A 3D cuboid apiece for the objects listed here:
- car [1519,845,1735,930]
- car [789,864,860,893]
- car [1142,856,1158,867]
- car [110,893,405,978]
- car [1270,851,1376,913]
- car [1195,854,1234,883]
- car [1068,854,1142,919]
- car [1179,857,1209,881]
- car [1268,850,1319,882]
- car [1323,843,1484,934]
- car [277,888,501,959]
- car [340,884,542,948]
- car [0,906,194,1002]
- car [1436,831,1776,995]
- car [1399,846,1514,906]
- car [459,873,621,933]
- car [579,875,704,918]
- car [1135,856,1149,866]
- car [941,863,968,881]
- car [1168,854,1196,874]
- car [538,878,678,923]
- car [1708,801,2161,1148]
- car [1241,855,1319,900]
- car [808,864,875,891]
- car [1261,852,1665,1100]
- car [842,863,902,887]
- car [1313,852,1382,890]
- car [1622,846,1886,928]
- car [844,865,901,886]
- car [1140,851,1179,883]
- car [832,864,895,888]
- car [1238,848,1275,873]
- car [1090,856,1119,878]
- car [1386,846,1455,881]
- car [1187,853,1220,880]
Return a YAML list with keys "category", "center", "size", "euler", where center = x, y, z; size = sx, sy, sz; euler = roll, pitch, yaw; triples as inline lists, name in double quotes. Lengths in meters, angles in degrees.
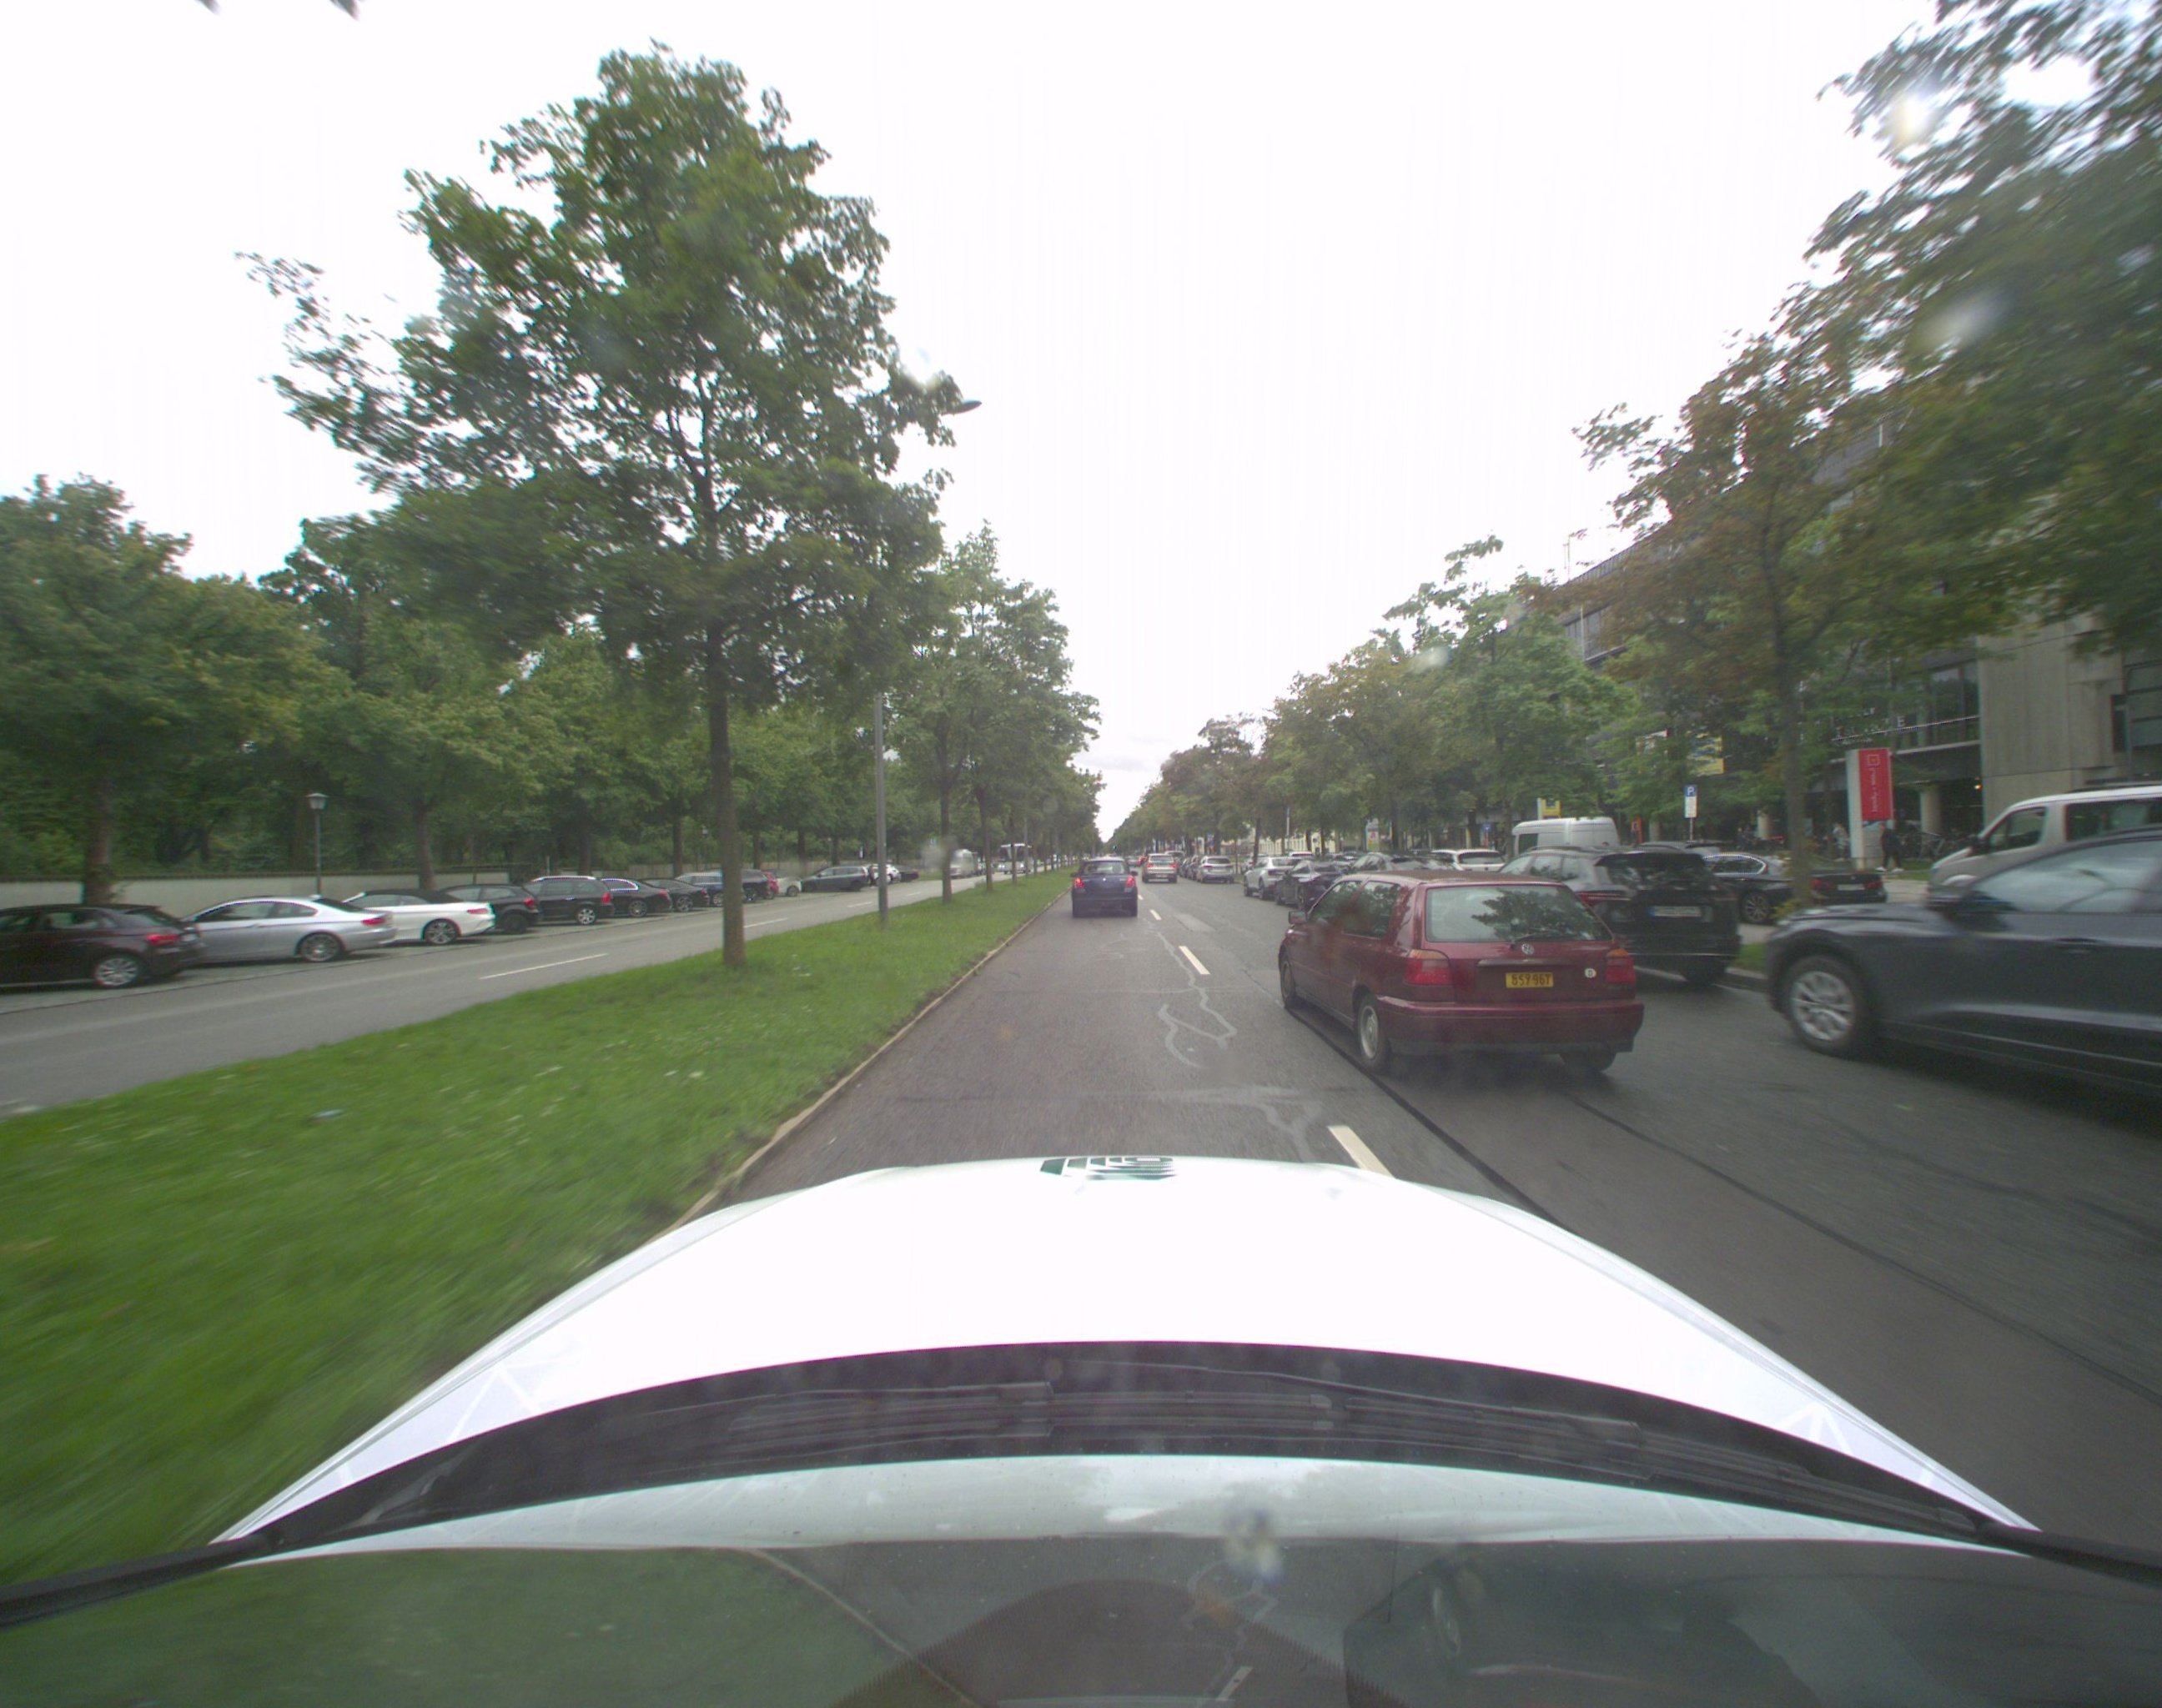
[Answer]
- category: "car"
  center: [10.938, 0.617, 16.707]
  size: [1.742, 1.479, 4.009]
  euler: [-2, 0, 0]
- category: "car"
  center: [-16.949, 1.597, 53.825]
  size: [4.122, 1.695, 1.900]
  euler: [-2, 0, -32]
- category: "car"
  center: [9.487, 1.024, 111.970]
  size: [1.844, 1.447, 4.097]
  euler: [-2, 0, 0]
- category: "car"
  center: [-16.975, 1.615, 17.114]
  size: [4.015, 1.354, 1.831]
  euler: [-2, 0, -33]
- category: "car"
  center: [6.716, 0.717, 23.057]
  size: [1.758, 1.546, 4.425]
  euler: [-1, 0, 1]
- category: "car"
  center: [7.518, 0.795, 46.268]
  size: [1.677, 1.525, 4.458]
  euler: [0, 0, 3]
- category: "car"
  center: [0.601, 0.811, 22.090]
  size: [1.783, 1.555, 4.000]
  euler: [-2, 0, 0]
- category: "car"
  center: [7.872, 0.989, 56.897]
  size: [1.677, 1.553, 4.309]
  euler: [-2, 0, 3]
- category: "car"
  center: [11.690, 0.622, 45.048]
  size: [1.678, 1.632, 4.782]
  euler: [-2, 0, 2]
- category: "car"
  center: [6.639, 0.642, 17.330]
  size: [1.758, 1.651, 4.425]
  euler: [-1, 0, 1]
- category: "car"
  center: [-16.988, 1.646, 20.290]
  size: [4.059, 1.381, 1.657]
  euler: [-2, 0, -34]
- category: "car"
  center: [-17.673, 1.641, 22.668]
  size: [4.263, 1.422, 1.897]
  euler: [-2, 0, -40]
- category: "car"
  center: [-17.567, 1.666, 13.419]
  size: [3.590, 1.354, 1.737]
  euler: [-2, 0, -29]
- category: "car"
  center: [6.404, 0.622, 10.654]
  size: [1.715, 1.651, 4.391]
  euler: [-2, 0, 2]
- category: "car"
  center: [11.011, 0.611, 24.196]
  size: [1.677, 1.585, 4.011]
  euler: [-2, 0, 2]
- category: "car"
  center: [-17.149, 1.482, 25.895]
  size: [4.127, 1.597, 1.897]
  euler: [-2, 0, -38]
- category: "car"
  center: [-17.300, 1.620, 32.131]
  size: [4.213, 1.410, 1.900]
  euler: [-2, 0, -32]
- category: "car"
  center: [9.361, 1.031, 125.828]
  size: [1.844, 1.447, 4.097]
  euler: [-2, 0, 0]
- category: "car"
  center: [-12.116, 1.733, 78.416]
  size: [1.907, 1.542, 4.187]
  euler: [-2, 0, 0]
- category: "car"
  center: [8.281, 0.787, 67.054]
  size: [1.679, 1.553, 4.304]
  euler: [-2, 0, -1]
- category: "car"
  center: [-16.938, 1.631, 29.286]
  size: [4.217, 1.322, 1.900]
  euler: [-2, 0, -32]
- category: "car"
  center: [6.183, 0.568, 4.555]
  size: [1.755, 1.701, 4.823]
  euler: [-2, 0, 2]
- category: "car"
  center: [6.927, 0.773, 28.781]
  size: [1.701, 1.454, 4.512]
  euler: [0, 0, 0]
- category: "car"
  center: [-16.795, 1.595, 57.183]
  size: [4.122, 1.695, 1.900]
  euler: [-2, 0, -32]
- category: "car"
  center: [2.748, 0.745, 6.911]
  size: [1.616, 1.454, 3.950]
  euler: [-2, 0, 1]
- category: "car"
  center: [-16.370, 1.632, 63.838]
  size: [4.122, 1.652, 1.900]
  euler: [-2, 0, -32]
- category: "car"
  center: [11.365, 0.689, 35.026]
  size: [1.677, 1.454, 4.739]
  euler: [-2, 0, 4]
- category: "car"
  center: [13.900, 0.606, 17.292]
  size: [1.678, 1.454, 4.840]
  euler: [-2, 0, 2]
- category: "car"
  center: [-16.967, 1.739, 66.418]
  size: [4.122, 1.474, 1.900]
  euler: [-2, 0, -32]
- category: "car"
  center: [4.495, 0.734, 47.178]
  size: [1.844, 1.743, 4.097]
  euler: [-2, 0, 0]
- category: "car"
  center: [-16.248, 1.648, 60.809]
  size: [4.122, 1.585, 1.900]
  euler: [-2, 0, -32]
- category: "car"
  center: [11.950, 0.447, 55.664]
  size: [1.678, 1.585, 4.029]
  euler: [-2, 0, 2]
- category: "car"
  center: [1.581, 0.859, 56.162]
  size: [1.844, 1.447, 4.097]
  euler: [-2, 0, 0]
- category: "car"
  center: [17.549, 0.477, 42.331]
  size: [1.679, 1.632, 4.498]
  euler: [-2, 0, 0]
- category: "car"
  center: [7.741, 0.780, 51.737]
  size: [1.677, 1.626, 4.309]
  euler: [0, 0, 3]
